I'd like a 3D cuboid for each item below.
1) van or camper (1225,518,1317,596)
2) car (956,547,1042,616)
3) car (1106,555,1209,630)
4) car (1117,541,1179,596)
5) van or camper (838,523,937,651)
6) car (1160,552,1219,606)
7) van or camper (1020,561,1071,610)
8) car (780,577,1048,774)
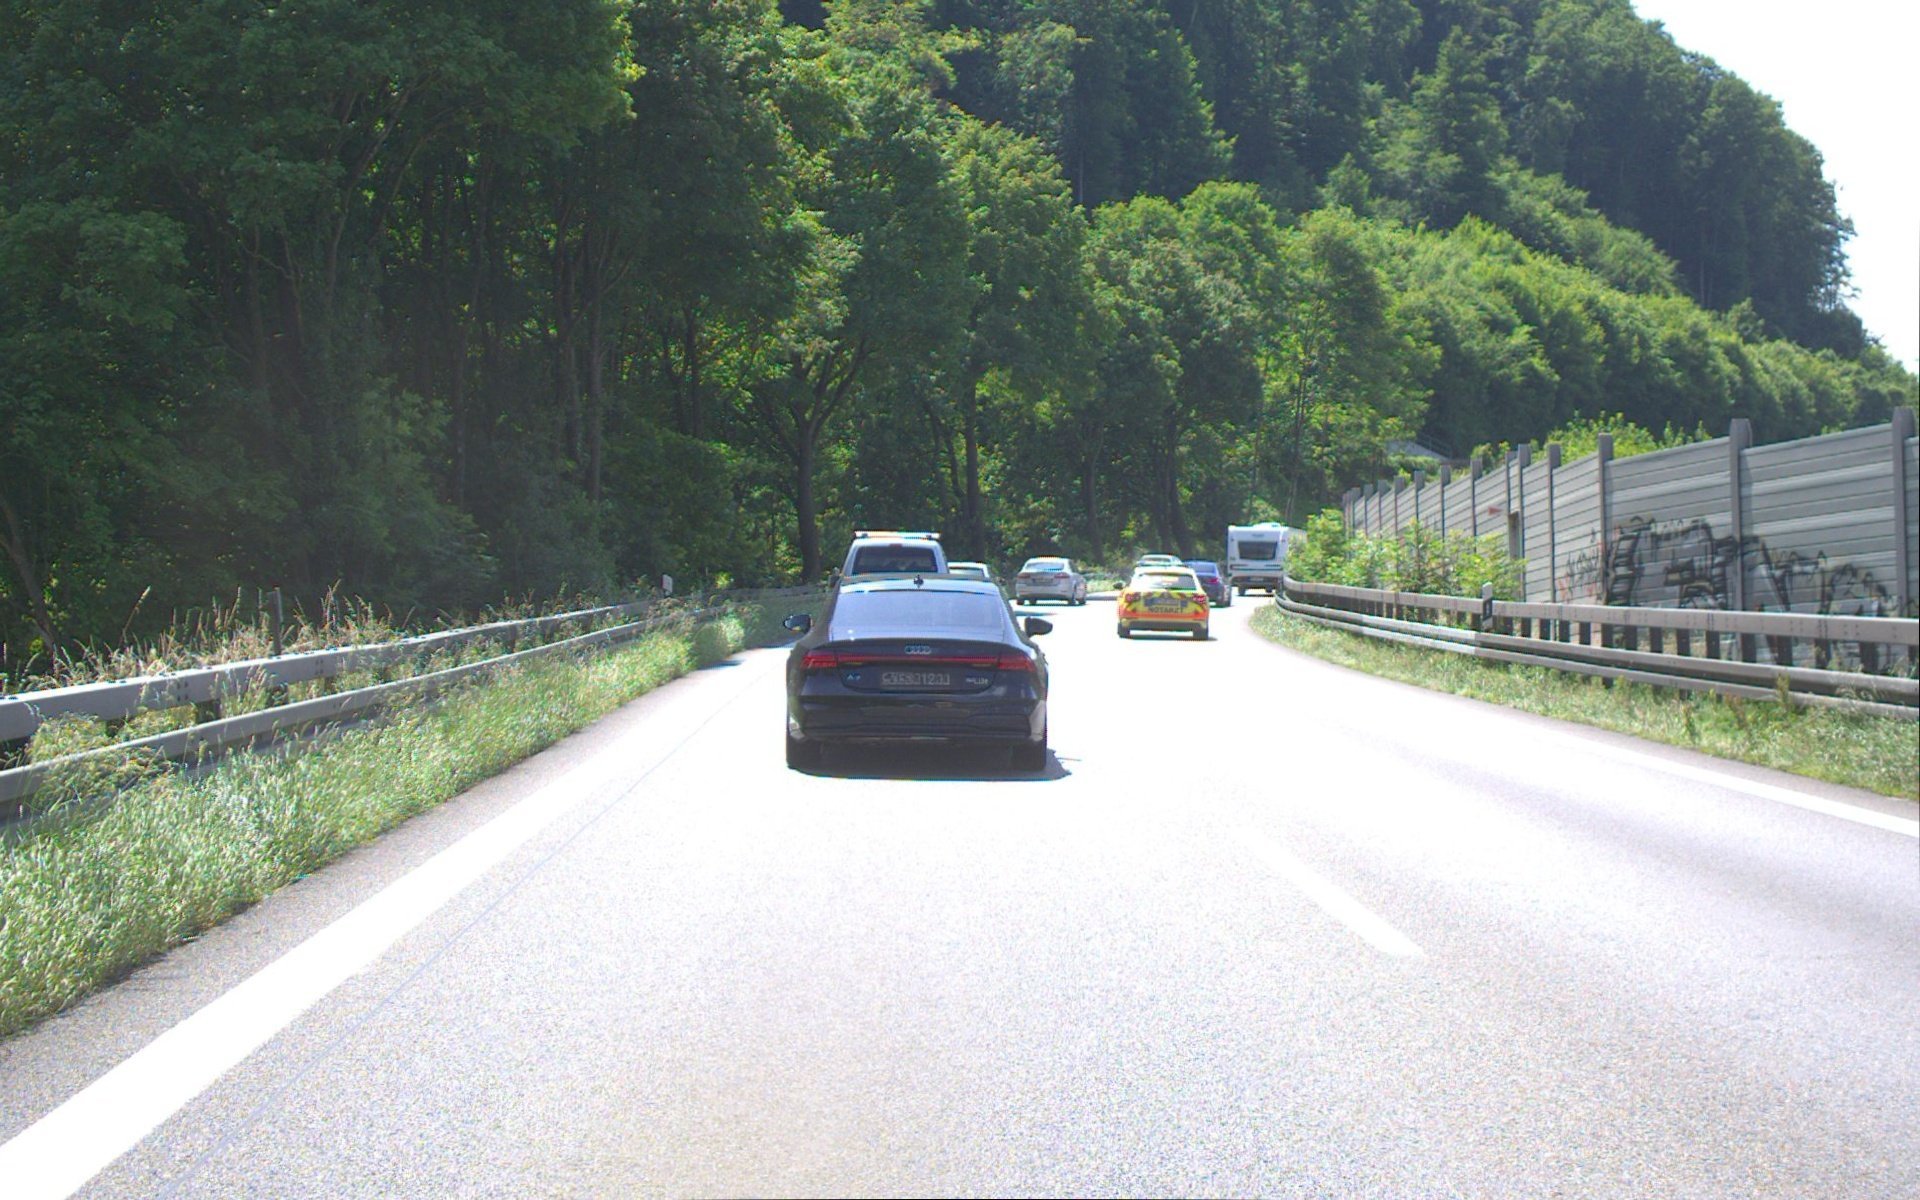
[{"bbox_3d":[11.939,-1.610,131.567,2.457,2.908,6.121,0,0,15],"label":"van or camper"},{"bbox_3d":[0.802,-0.394,73.526,1.747,1.426,4.000,0,0,-1],"label":"car"},{"bbox_3d":[3.987,-0.151,70.015,1.863,1.483,4.000,0,0,0],"label":"car"},{"bbox_3d":[7.268,-1.244,132.456,1.994,2.007,3.999,-2,1,8],"label":"car"},{"bbox_3d":[-1.068,-0.194,50.503,1.391,1.809,4.000,0,0,-1],"label":"van or camper"},{"bbox_3d":[7.359,-0.682,110.269,1.773,1.631,4.000,-3,1,4],"label":"car"},{"bbox_3d":[2.698,-0.459,107.671,1.558,1.529,3.505,0,0,2],"label":"van or camper"},{"bbox_3d":[-0.359,0.510,25.736,1.837,1.345,4.000,0,0,-1],"label":"car"}]
